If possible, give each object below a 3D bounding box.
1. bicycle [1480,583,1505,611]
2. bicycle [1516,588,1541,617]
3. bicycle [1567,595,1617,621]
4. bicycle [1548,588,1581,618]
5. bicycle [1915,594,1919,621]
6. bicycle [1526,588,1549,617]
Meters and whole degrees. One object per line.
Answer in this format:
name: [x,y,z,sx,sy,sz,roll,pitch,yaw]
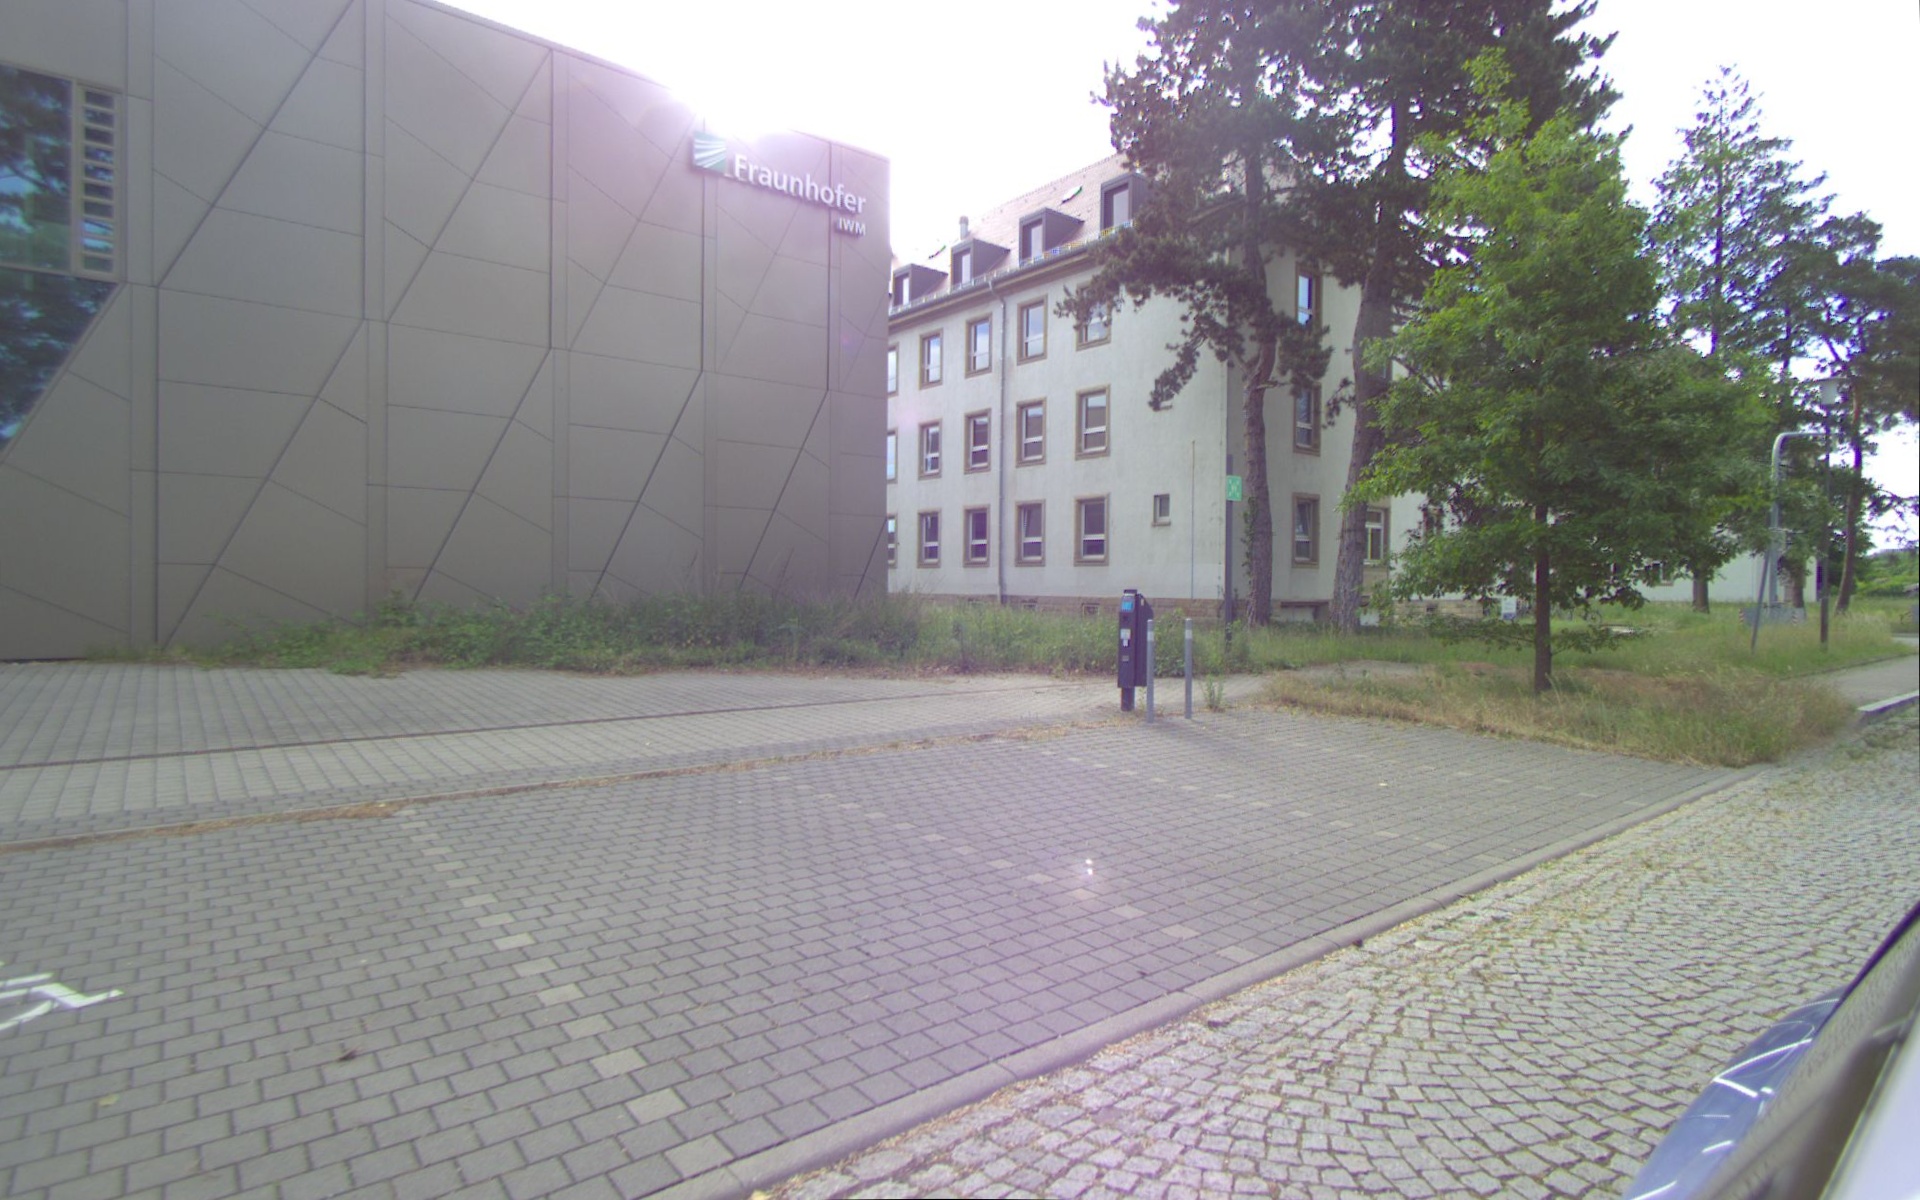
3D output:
bicycle: [26.230,-0.133,49.854,1.808,1.348,0.571,0,1,-45]
bicycle: [27.327,0.119,48.664,1.808,1.348,0.571,0,1,-45]
bicycle: [28.166,0.350,45.132,0.562,1.098,1.838,-2,2,-35]
bicycle: [28.369,0.136,47.506,1.801,1.348,0.573,0,0,-32]
bicycle: [40.684,0.329,41.733,0.563,1.098,1.835,-2,2,-40]
bicycle: [27.589,0.116,48.319,1.808,1.348,0.481,0,1,-45]
